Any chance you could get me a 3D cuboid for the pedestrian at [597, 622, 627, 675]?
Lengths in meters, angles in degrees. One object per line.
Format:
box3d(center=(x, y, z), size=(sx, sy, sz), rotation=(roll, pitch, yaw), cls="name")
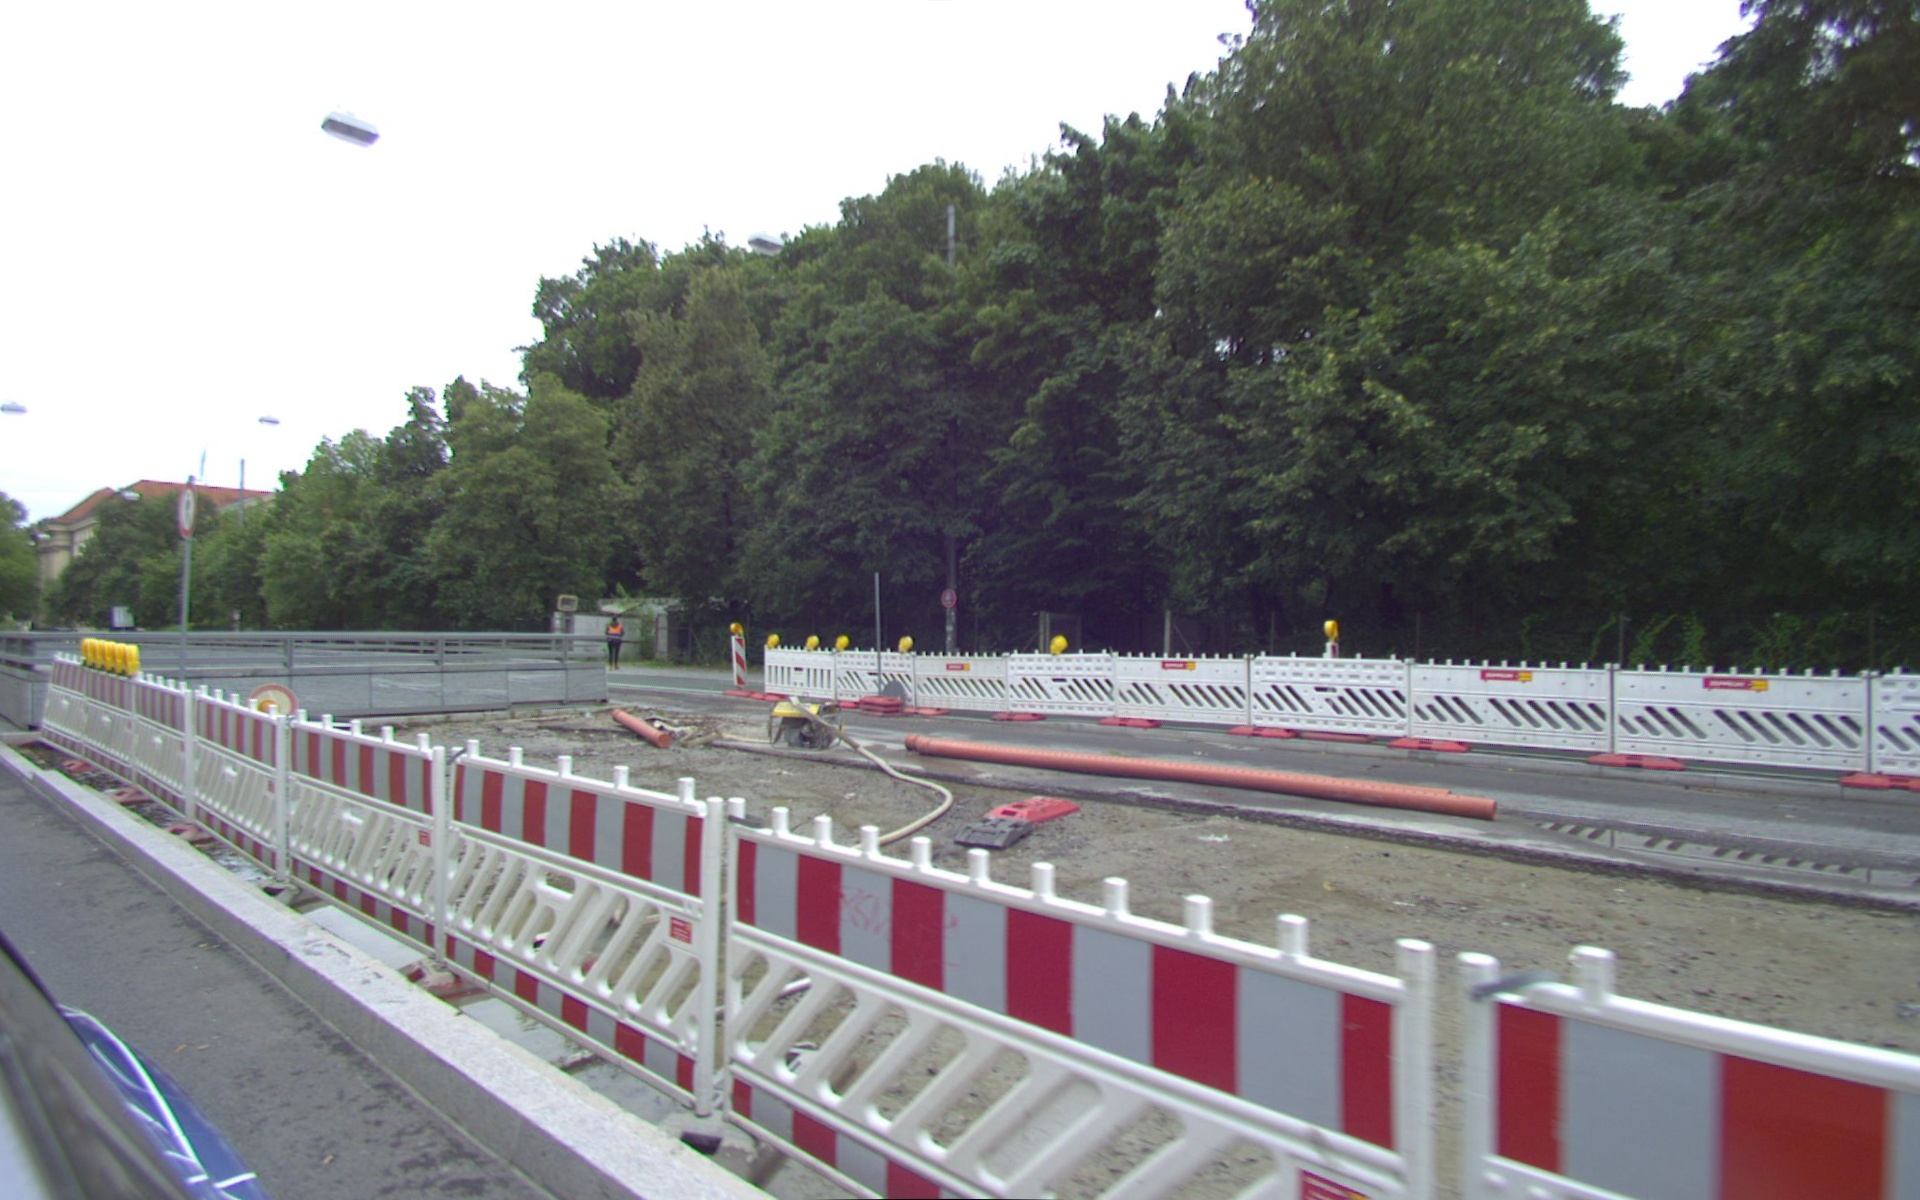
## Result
box3d(center=(-10.972, 1.527, 31.894), size=(0.698, 1.653, 0.656), rotation=(-2, -2, 42), cls="pedestrian")
